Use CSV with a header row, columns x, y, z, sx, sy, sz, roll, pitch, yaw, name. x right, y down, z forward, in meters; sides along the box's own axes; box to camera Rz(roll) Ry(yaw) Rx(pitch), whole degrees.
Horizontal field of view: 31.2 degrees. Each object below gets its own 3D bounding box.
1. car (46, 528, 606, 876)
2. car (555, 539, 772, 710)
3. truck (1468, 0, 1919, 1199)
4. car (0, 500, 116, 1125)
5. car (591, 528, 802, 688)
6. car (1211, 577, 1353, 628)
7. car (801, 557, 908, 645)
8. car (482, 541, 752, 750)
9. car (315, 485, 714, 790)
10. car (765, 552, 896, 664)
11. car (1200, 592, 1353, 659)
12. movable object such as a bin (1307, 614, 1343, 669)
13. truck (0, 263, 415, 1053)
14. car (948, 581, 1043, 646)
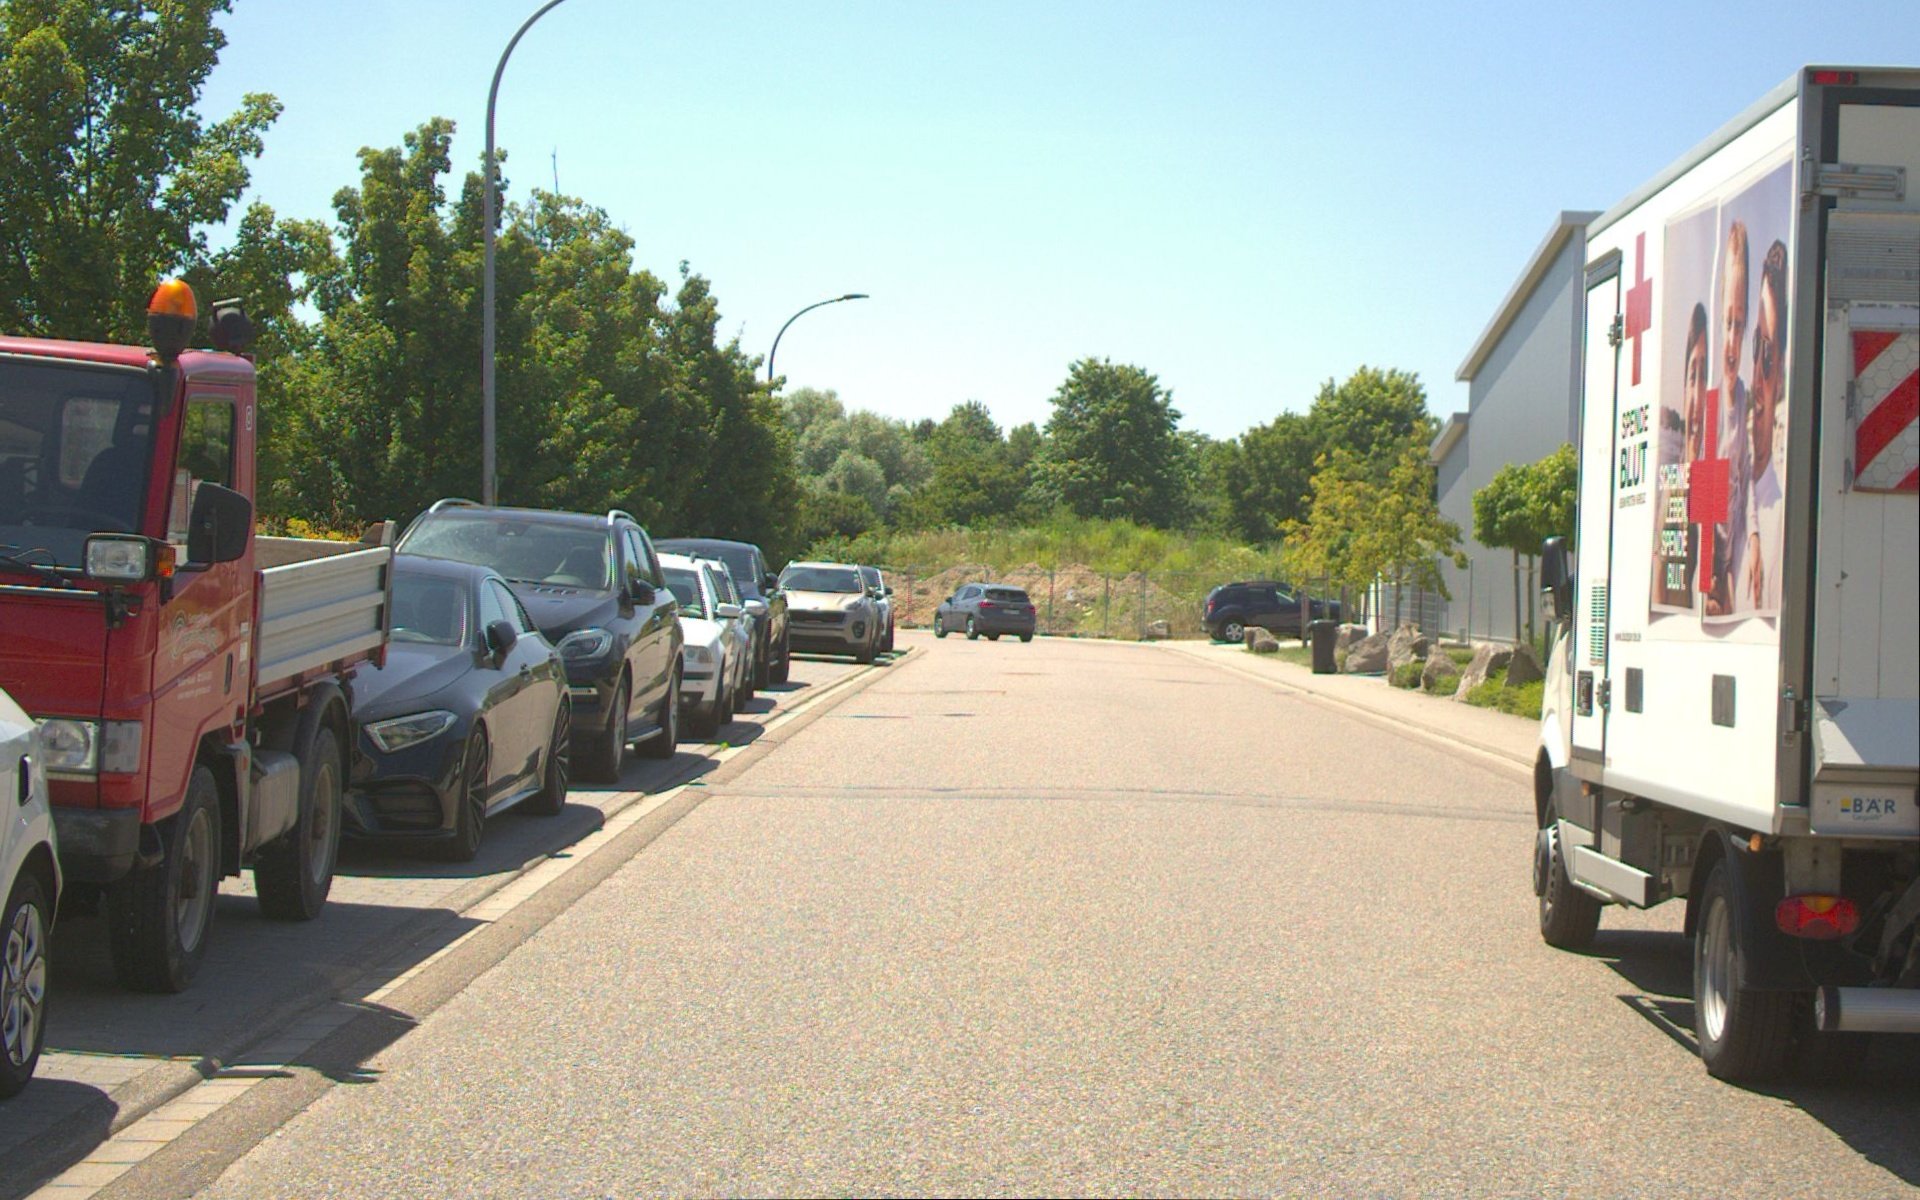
x,y,z,sx,sy,sz,roll,pitch,yaw,name
-3.057,0.426,17.623,1.851,1.438,4.753,3,1,1,car
-2.954,0.198,35.225,1.851,1.514,5.167,3,1,-2,car
3.406,-0.071,11.848,2.457,3.194,6.882,2,1,2,truck
-3.236,0.487,7.483,1.851,1.545,3.767,3,1,-1,car
-3.119,0.070,41.655,1.991,1.707,5.007,3,1,1,car
9.486,0.075,101.625,4.009,1.457,1.893,-1,0,0,car
-2.107,-0.011,69.710,1.912,1.650,4.755,2,1,1,car
-2.800,0.324,29.053,1.851,1.514,4.905,3,1,-2,car
-2.904,0.204,23.492,1.851,1.752,4.986,3,1,2,car
-2.142,0.111,57.890,1.912,1.707,4.413,3,1,1,car
8.739,0.702,95.098,4.010,1.650,1.858,-3,0,1,car
6.389,0.727,60.137,0.558,0.943,0.539,1,0,0,movable object such as a bin
-3.275,0.097,12.064,1.851,2.215,4.646,3,1,0,truck
0.974,0.360,96.696,1.912,1.707,4.032,2,1,-10,car
